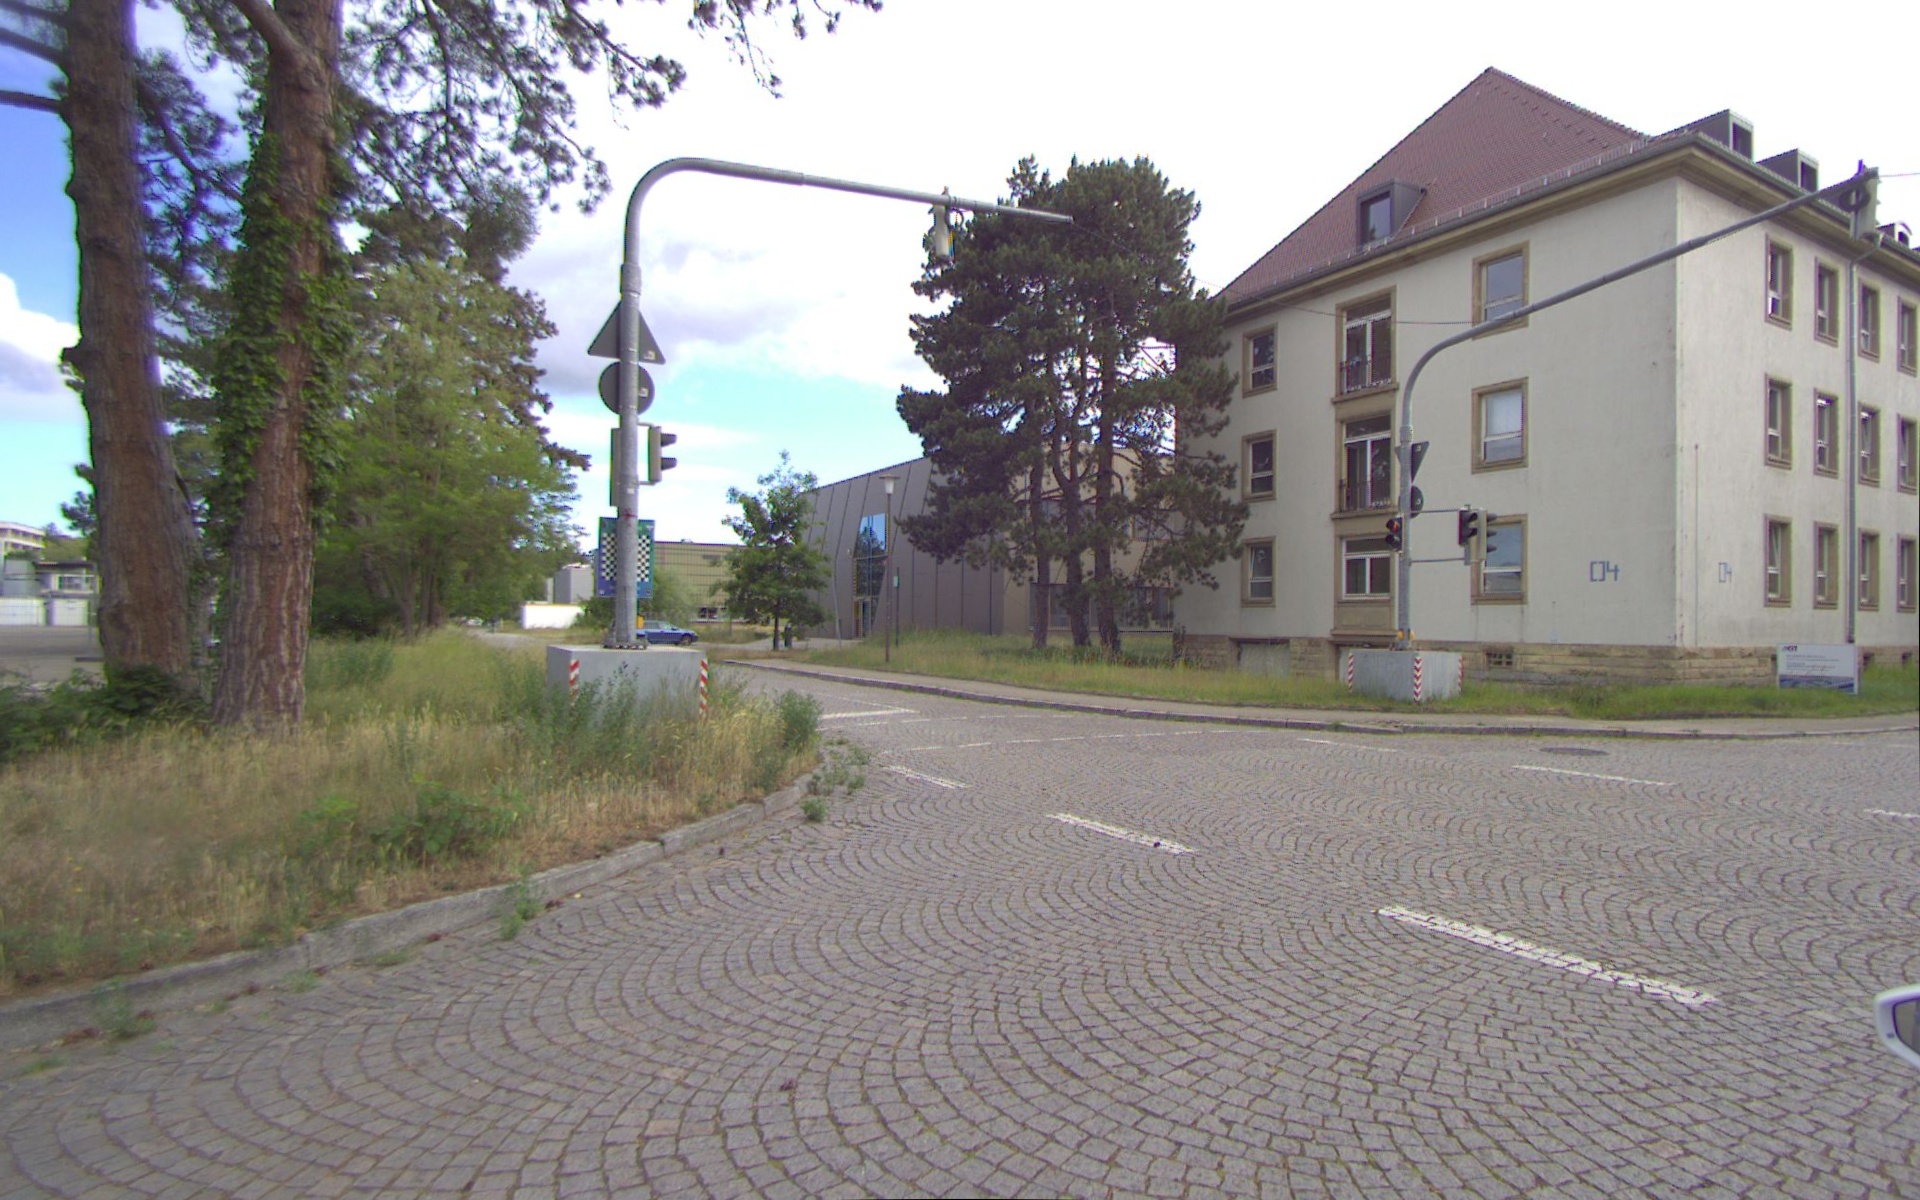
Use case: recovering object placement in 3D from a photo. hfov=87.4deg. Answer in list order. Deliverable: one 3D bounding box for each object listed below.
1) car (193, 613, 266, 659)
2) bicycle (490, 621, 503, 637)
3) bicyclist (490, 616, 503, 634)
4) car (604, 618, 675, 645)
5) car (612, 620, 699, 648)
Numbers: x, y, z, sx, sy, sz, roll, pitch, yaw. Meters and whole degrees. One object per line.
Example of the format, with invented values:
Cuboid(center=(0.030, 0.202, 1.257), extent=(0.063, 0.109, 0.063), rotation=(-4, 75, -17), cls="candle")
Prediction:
Cuboid(center=(-25.843, 1.253, 35.645), extent=(1.716, 1.451, 4.126), rotation=(2, 0, -31), cls="car")
Cuboid(center=(-41.631, 2.585, 90.215), extent=(0.817, 1.395, 2.025), rotation=(2, 0, -31), cls="bicycle")
Cuboid(center=(-41.618, 2.238, 90.200), extent=(0.890, 1.562, 0.860), rotation=(2, 0, -32), cls="bicyclist")
Cuboid(center=(-20.583, 1.976, 64.549), extent=(4.076, 1.593, 1.749), rotation=(-1, 0, -33), cls="car")
Cuboid(center=(-17.498, 1.926, 57.777), extent=(4.447, 1.482, 1.917), rotation=(-1, 0, -33), cls="car")
